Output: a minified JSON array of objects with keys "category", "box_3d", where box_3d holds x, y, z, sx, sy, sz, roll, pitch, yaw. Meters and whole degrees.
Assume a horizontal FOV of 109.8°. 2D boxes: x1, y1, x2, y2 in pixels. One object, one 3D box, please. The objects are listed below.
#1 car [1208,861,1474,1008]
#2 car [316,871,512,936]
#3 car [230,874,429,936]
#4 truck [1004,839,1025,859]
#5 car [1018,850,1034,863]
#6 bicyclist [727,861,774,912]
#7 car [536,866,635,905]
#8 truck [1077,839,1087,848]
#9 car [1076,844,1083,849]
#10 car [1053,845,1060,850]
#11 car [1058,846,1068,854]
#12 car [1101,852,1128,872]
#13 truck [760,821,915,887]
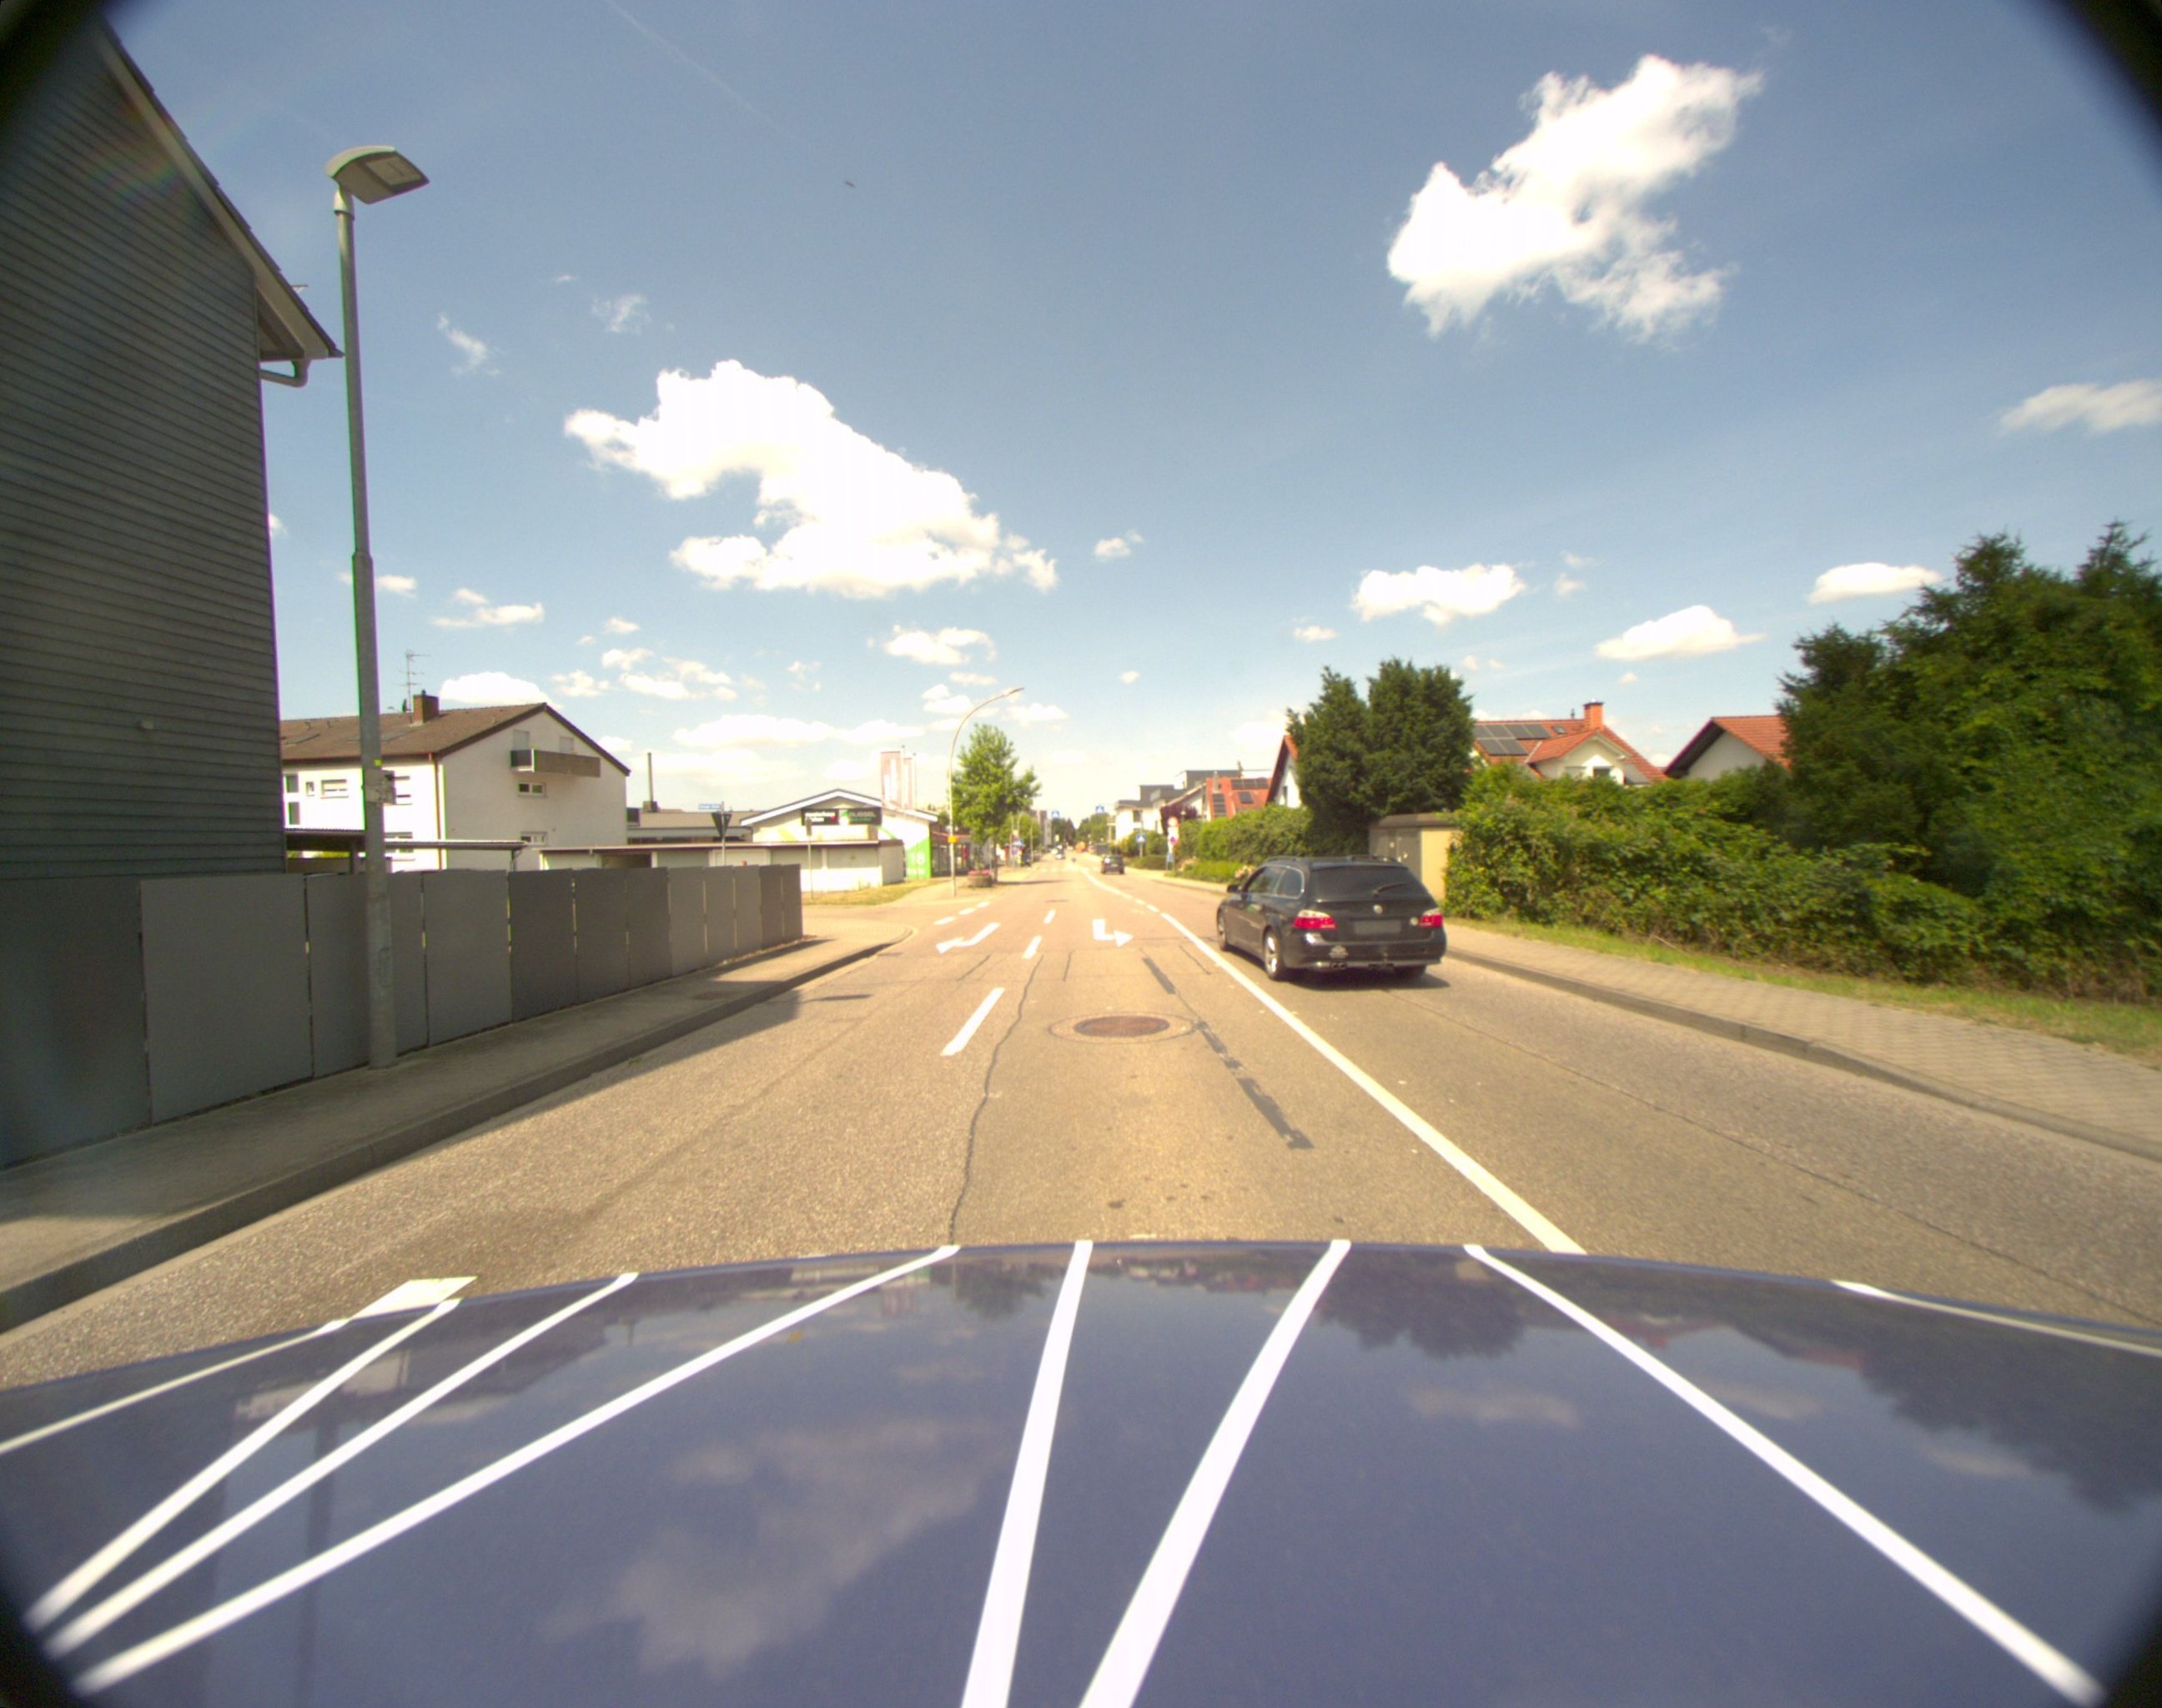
[{"category":"car","box_3d":[3.093,0.858,10.212,1.868,1.434,4.670,0,1,-1]},{"category":"car","box_3d":[-18.567,1.314,21.445,1.741,1.638,4.217,-1,-1,2]},{"category":"car","box_3d":[-21.047,1.363,21.535,1.741,1.577,3.854,-1,-1,2]},{"category":"truck","box_3d":[-9.203,-0.708,104.820,2.580,2.746,6.329,0,1,-7]},{"category":"car","box_3d":[-6.538,0.313,89.898,1.729,1.484,3.758,0,1,-2]},{"category":"bicyclist","box_3d":[-10.838,1.056,24.965,1.110,1.620,0.806,-2,1,3]},{"category":"car","box_3d":[-22.275,1.363,34.365,1.679,1.494,4.131,-2,1,0]},{"category":"truck","box_3d":[0.398,-3.179,233.411,2.864,2.695,6.791,0,1,2]},{"category":"car","box_3d":[-0.415,-2.269,220.667,1.799,1.480,3.612,0,1,-2]},{"category":"car","box_3d":[-6.339,-1.697,196.371,1.729,1.484,3.759,0,1,-1]},{"category":"car","box_3d":[-3.240,-0.767,138.918,1.729,1.484,3.759,0,1,-1]},{"category":"car","box_3d":[2.437,0.584,56.236,1.785,1.425,3.871,0,0,-1]},{"category":"truck","box_3d":[-14.362,-0.031,45.264,8.192,3.553,2.676,-2,2,-2]}]
